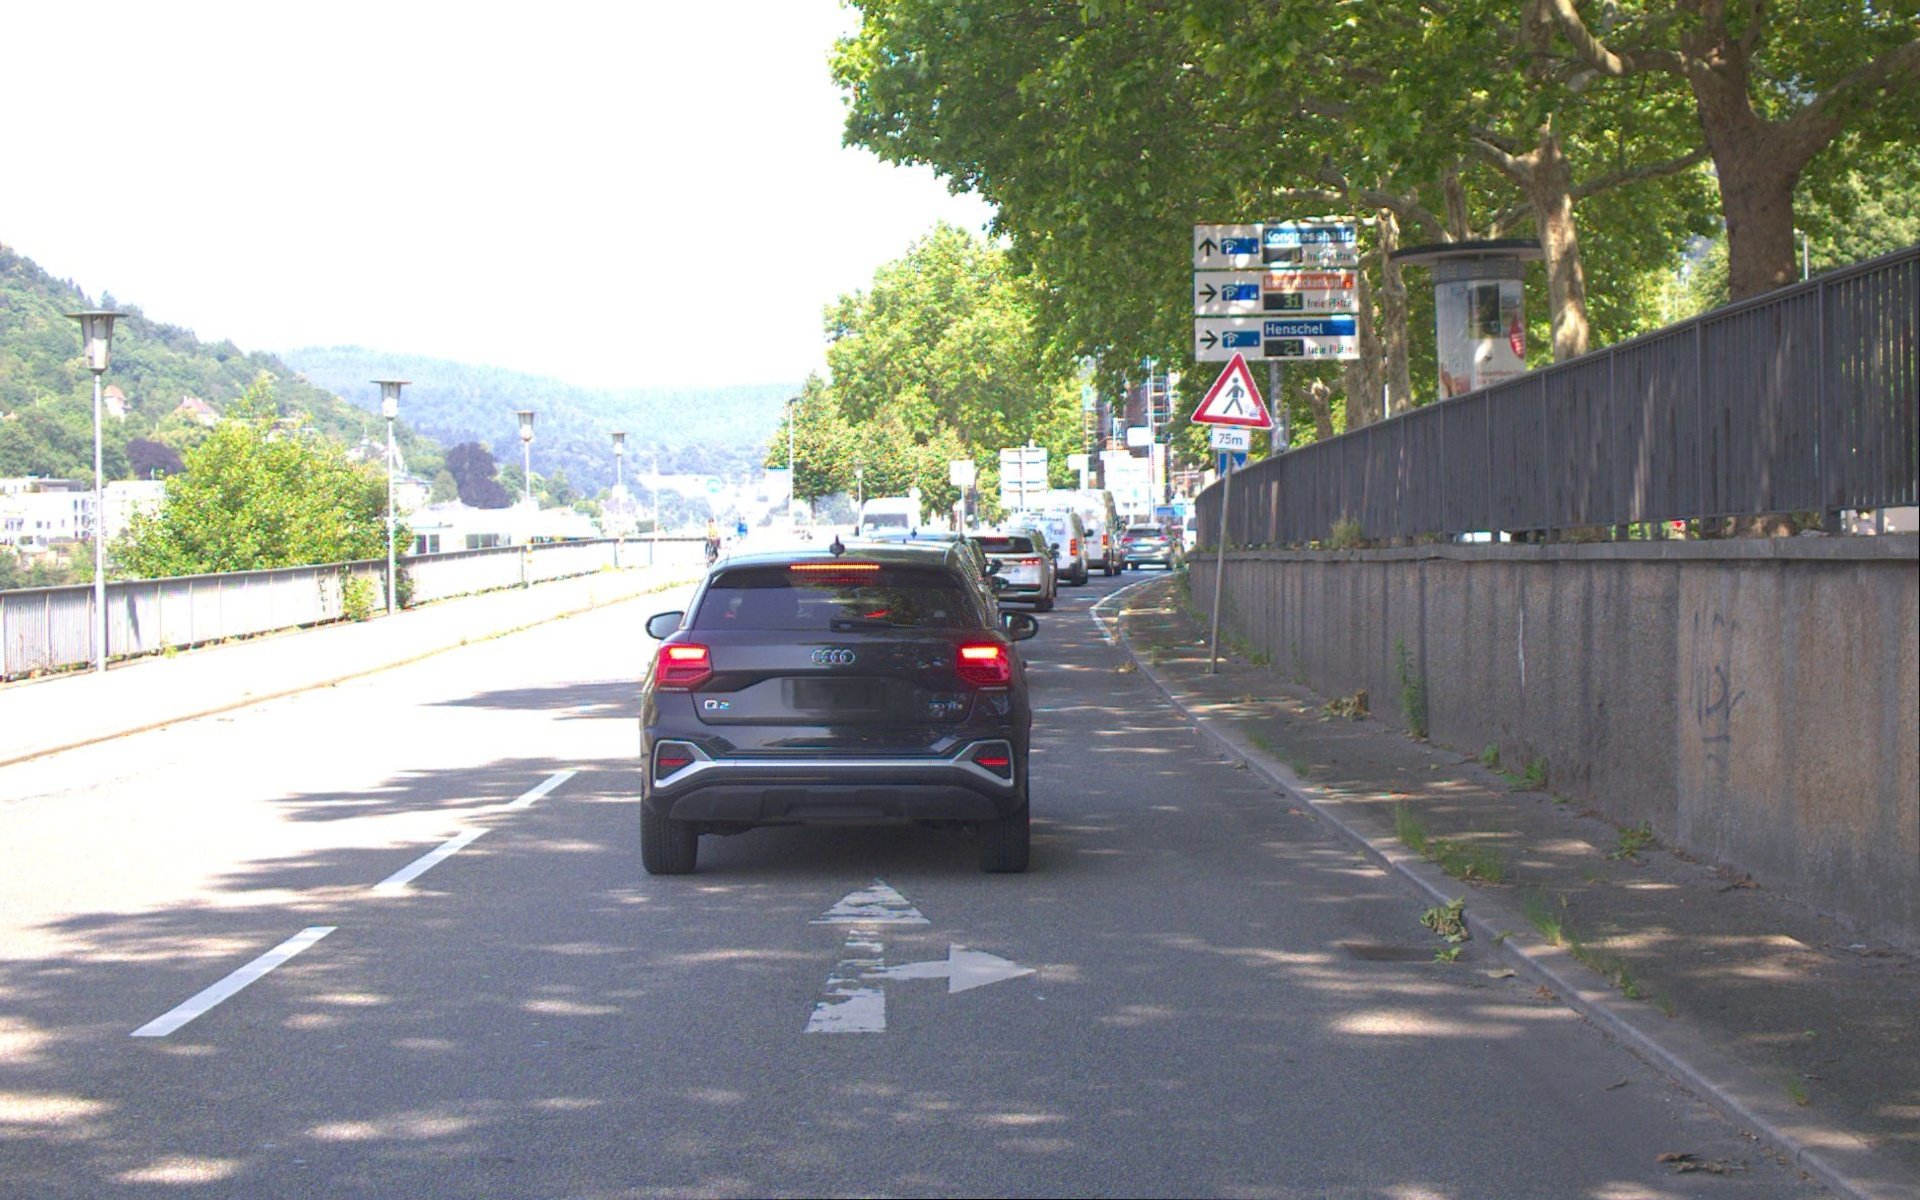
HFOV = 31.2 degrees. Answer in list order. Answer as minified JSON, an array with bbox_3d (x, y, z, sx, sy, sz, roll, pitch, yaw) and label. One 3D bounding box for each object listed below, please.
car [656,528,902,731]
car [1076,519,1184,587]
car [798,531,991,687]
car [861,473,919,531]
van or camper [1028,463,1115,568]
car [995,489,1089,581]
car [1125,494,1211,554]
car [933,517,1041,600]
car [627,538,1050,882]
[{"bbox_3d":[-1.381,0.181,27.572,1.828,1.506,4.000,0,1,-1],"label":"car"},{"bbox_3d":[5.704,-1.609,116.100,3.098,2.006,5.825,-5,1,-1],"label":"car"},{"bbox_3d":[-0.659,0.047,34.644,1.828,1.481,4.000,0,1,-1],"label":"car"},{"bbox_3d":[-2.596,-3.603,127.376,1.993,2.006,4.000,-4,1,-1],"label":"car"},{"bbox_3d":[3.215,-2.456,100.163,2.310,2.837,4.246,-3,1,1],"label":"van or camper"},{"bbox_3d":[2.089,-1.652,86.675,1.994,2.162,4.000,-3,1,5],"label":"car"},{"bbox_3d":[7.747,-2.842,128.800,2.661,2.006,5.825,-4,1,-1],"label":"car"},{"bbox_3d":[0.457,-0.755,61.835,1.828,1.439,4.000,0,1,-1],"label":"car"},{"bbox_3d":[-0.561,0.441,16.879,1.828,1.481,4.000,0,1,-1],"label":"car"}]
